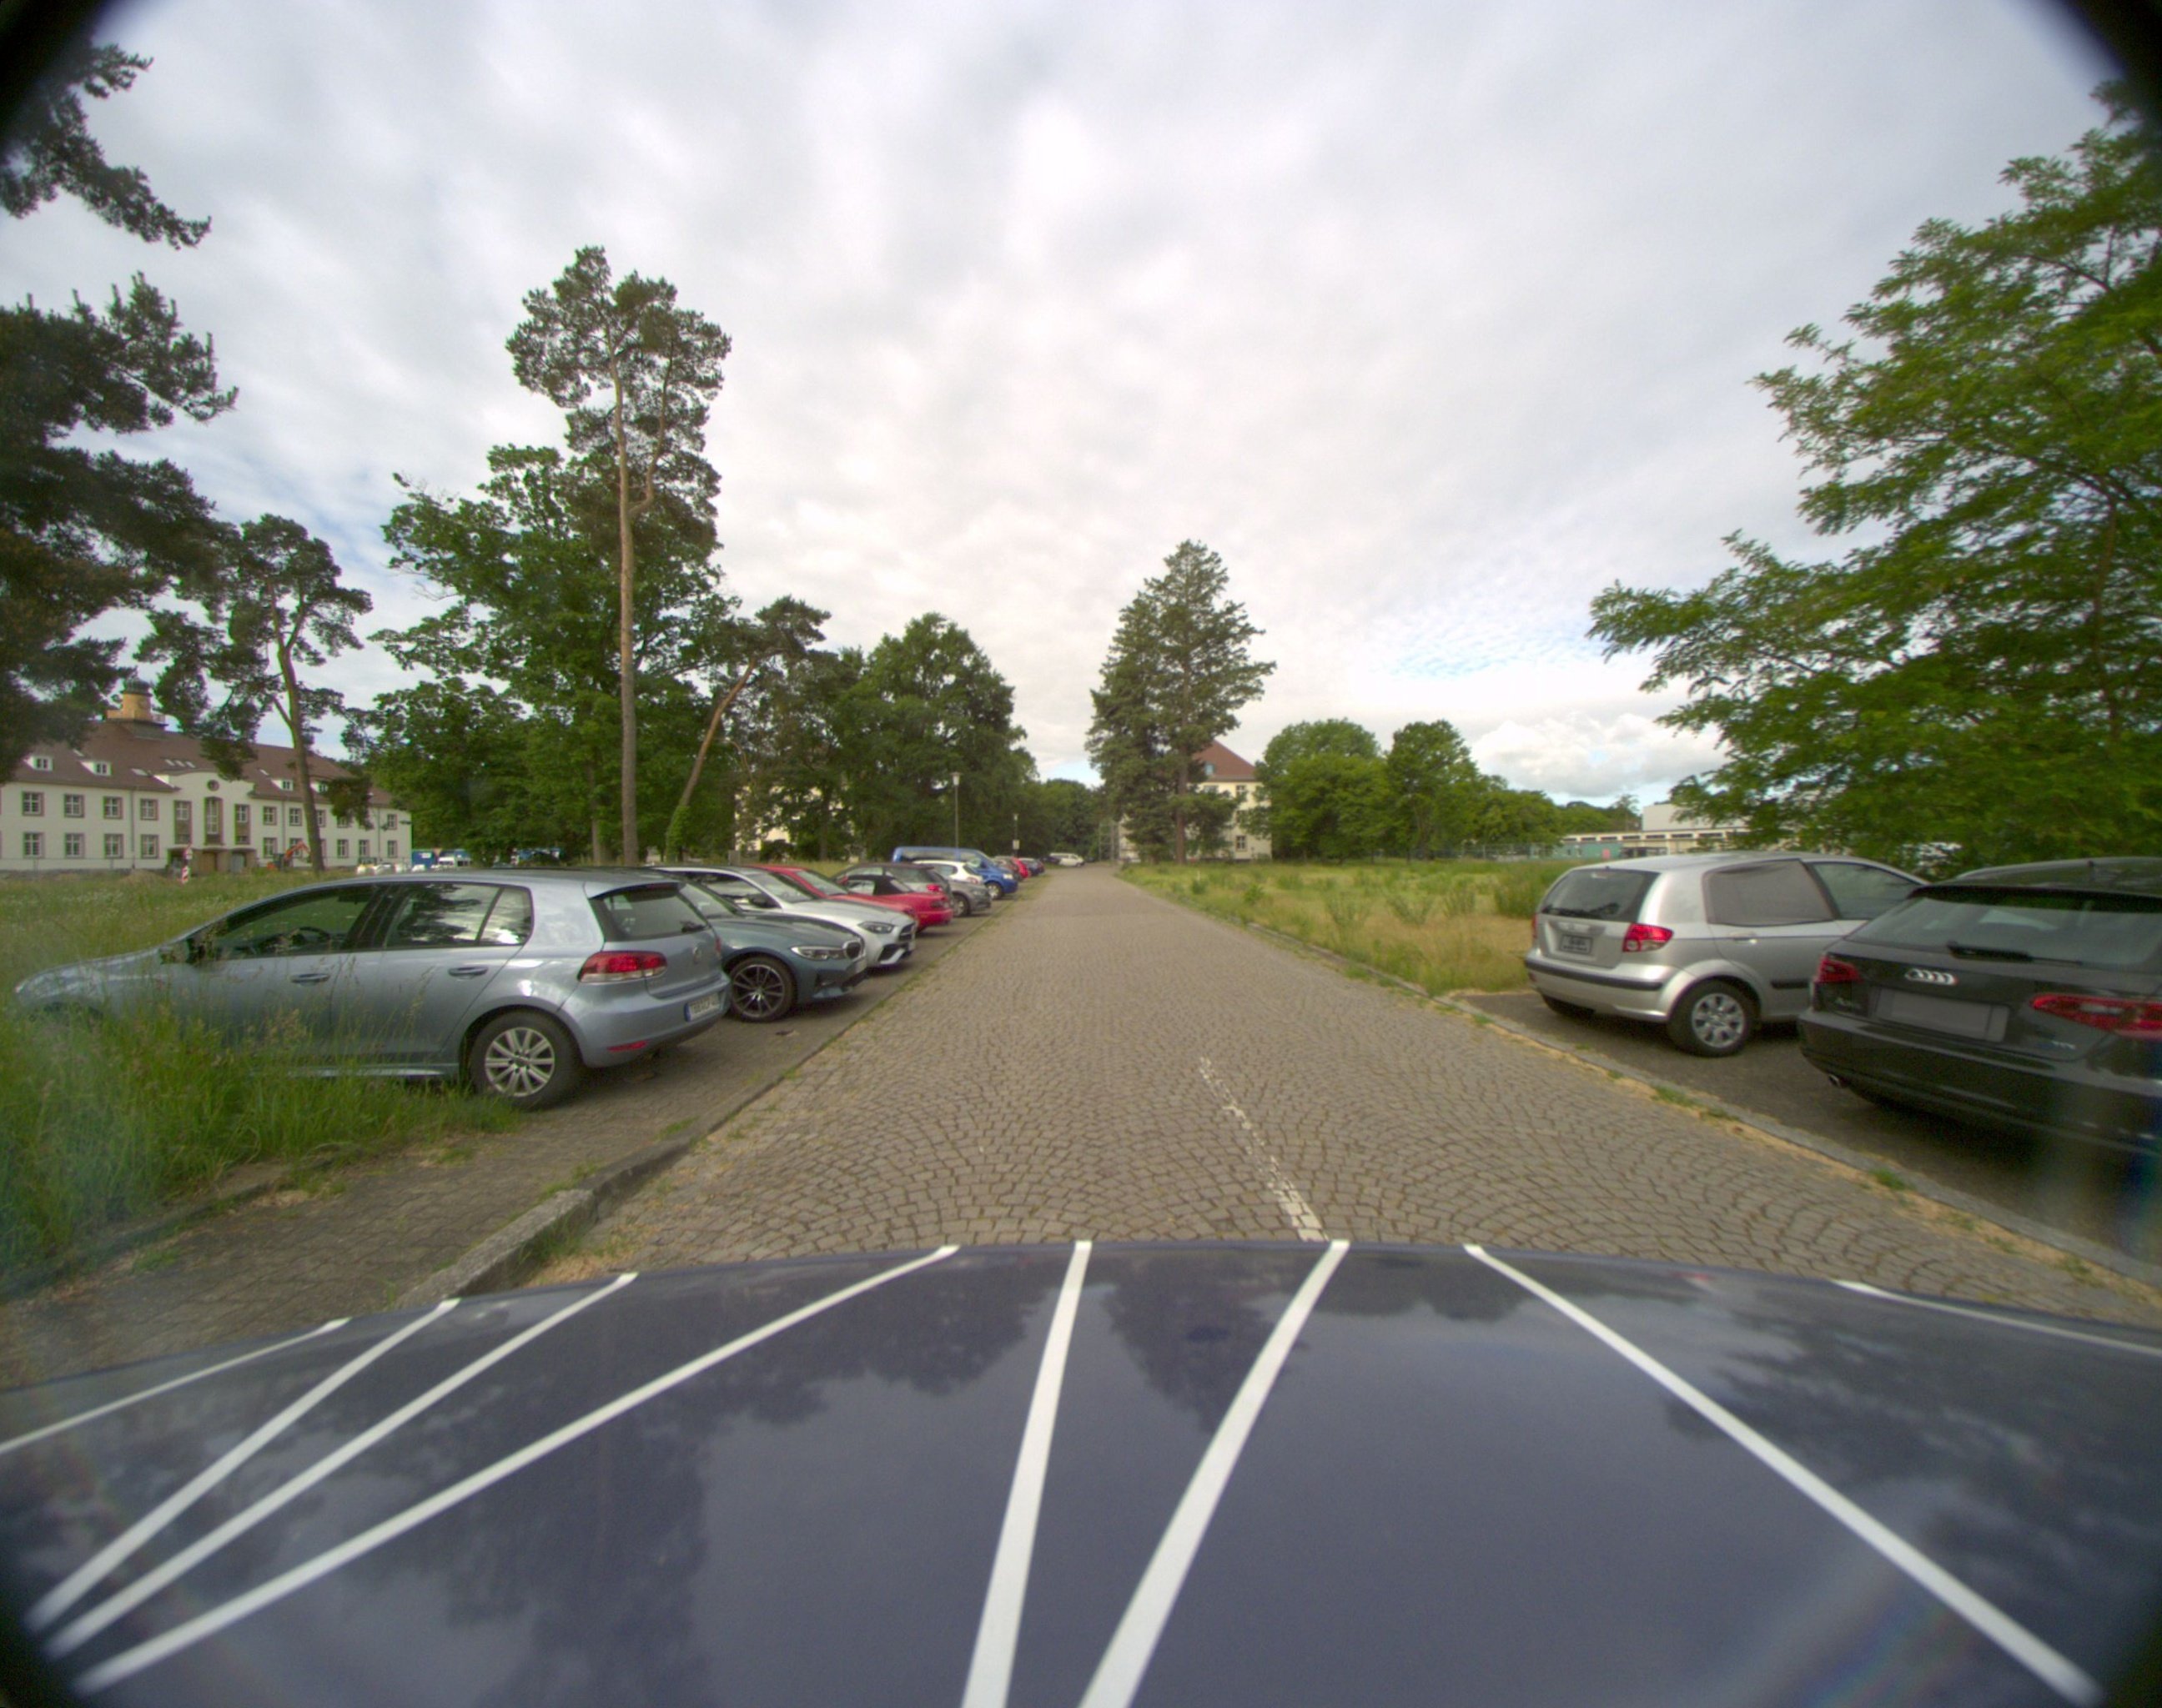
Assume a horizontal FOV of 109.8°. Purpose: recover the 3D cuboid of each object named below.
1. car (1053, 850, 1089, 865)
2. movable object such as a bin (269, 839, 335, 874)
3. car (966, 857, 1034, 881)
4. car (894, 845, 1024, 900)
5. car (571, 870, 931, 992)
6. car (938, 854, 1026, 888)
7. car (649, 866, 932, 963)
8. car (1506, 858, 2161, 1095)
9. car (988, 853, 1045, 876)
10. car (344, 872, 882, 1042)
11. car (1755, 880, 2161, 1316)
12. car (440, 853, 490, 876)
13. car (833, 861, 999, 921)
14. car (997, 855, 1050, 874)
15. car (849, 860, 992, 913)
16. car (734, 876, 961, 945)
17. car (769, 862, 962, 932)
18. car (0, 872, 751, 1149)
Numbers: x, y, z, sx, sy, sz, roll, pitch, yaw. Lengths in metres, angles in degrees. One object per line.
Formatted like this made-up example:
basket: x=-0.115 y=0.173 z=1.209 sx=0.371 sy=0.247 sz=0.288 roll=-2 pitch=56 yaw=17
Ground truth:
car: x=-1.484 y=0.524 z=112.005 sx=5.149 sy=2.137 sz=1.774 roll=1 pitch=0 yaw=-3
movable object such as a bin: x=-89.157 y=0.279 z=86.996 sx=5.458 sy=3.748 sz=2.053 roll=-1 pitch=1 yaw=3
car: x=-5.124 y=0.925 z=48.274 sx=4.083 sy=1.436 sz=1.726 roll=1 pitch=0 yaw=1
car: x=-4.587 y=0.682 z=29.058 sx=4.601 sy=1.994 sz=1.912 roll=1 pitch=1 yaw=2
car: x=-4.411 y=0.995 z=10.569 sx=4.247 sy=1.465 sz=1.717 roll=1 pitch=0 yaw=2
car: x=-4.897 y=0.841 z=37.959 sx=4.083 sy=1.584 sz=1.654 roll=1 pitch=0 yaw=2
car: x=-4.827 y=0.980 z=13.043 sx=4.183 sy=1.473 sz=1.717 roll=1 pitch=0 yaw=0
car: x=5.914 y=0.870 z=6.247 sx=3.960 sy=1.462 sz=1.584 roll=-3 pitch=1 yaw=-3
car: x=-4.927 y=0.809 z=58.623 sx=4.081 sy=1.685 sz=1.727 roll=1 pitch=0 yaw=7
car: x=-4.501 y=0.976 z=7.823 sx=4.440 sy=1.375 sz=1.663 roll=2 pitch=0 yaw=-2
car: x=6.125 y=0.876 z=3.573 sx=4.447 sy=1.416 sz=1.721 roll=-3 pitch=1 yaw=-2
car: x=-68.848 y=1.161 z=84.955 sx=1.862 sy=2.351 sz=4.447 roll=-1 pitch=1 yaw=0
car: x=-4.422 y=0.964 z=20.725 sx=4.097 sy=1.507 sz=1.700 roll=1 pitch=0 yaw=2
car: x=-4.750 y=0.836 z=63.314 sx=4.091 sy=1.524 sz=1.727 roll=1 pitch=0 yaw=7
car: x=-4.920 y=0.978 z=23.644 sx=4.050 sy=1.507 sz=1.601 roll=1 pitch=0 yaw=2
car: x=-4.575 y=1.094 z=15.232 sx=4.050 sy=1.233 sz=1.549 roll=1 pitch=0 yaw=0
car: x=-4.982 y=0.980 z=17.896 sx=4.050 sy=1.507 sz=1.601 roll=1 pitch=0 yaw=2
car: x=-4.656 y=0.929 z=5.194 sx=4.011 sy=1.420 sz=1.697 roll=2 pitch=0 yaw=-2
